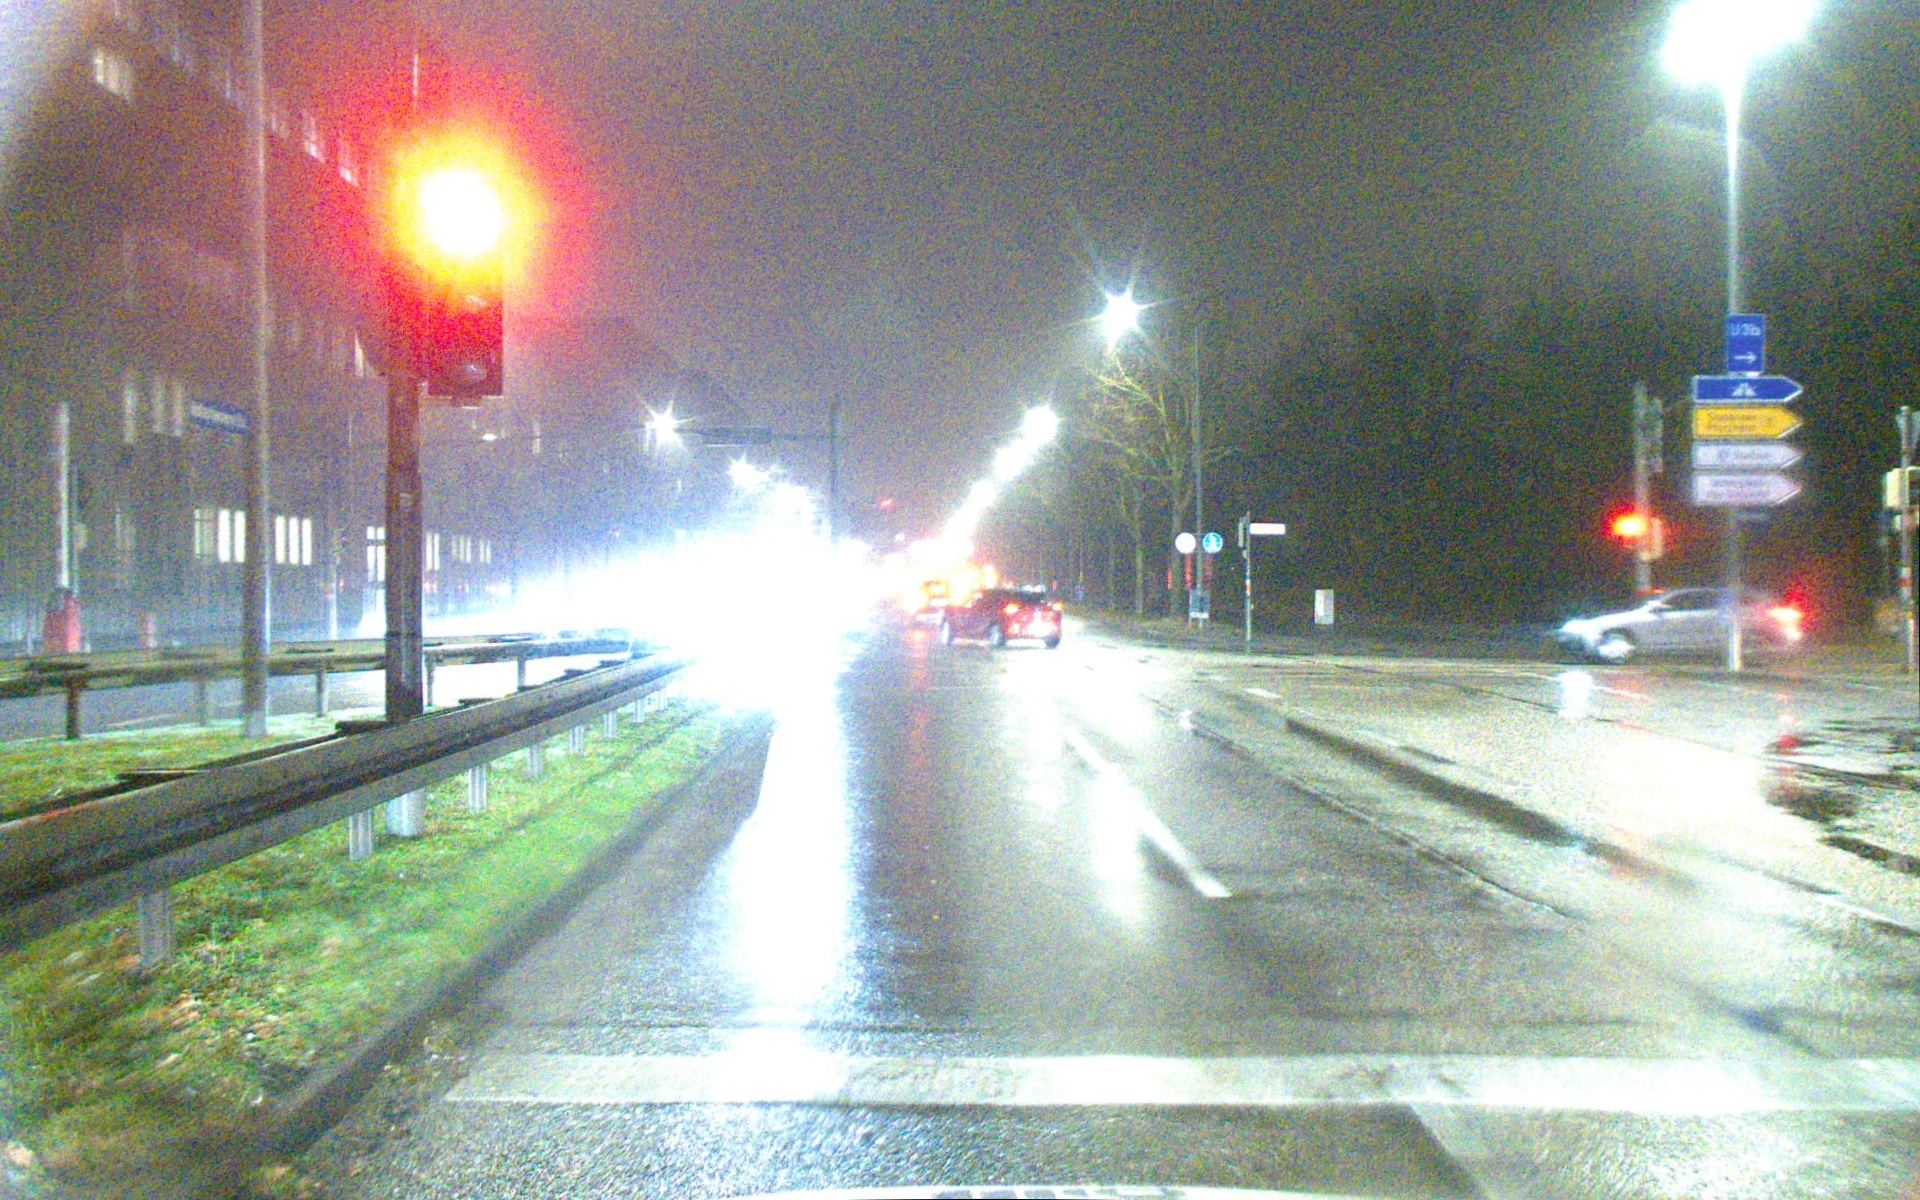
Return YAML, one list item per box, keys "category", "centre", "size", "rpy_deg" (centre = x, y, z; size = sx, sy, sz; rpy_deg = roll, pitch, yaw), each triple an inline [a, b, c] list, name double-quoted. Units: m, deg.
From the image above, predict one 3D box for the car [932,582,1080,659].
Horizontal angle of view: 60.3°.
- category: "car"
  centre: [1.065, 0.493, 40.597]
  size: [1.953, 1.785, 4.319]
  rpy_deg: [1, -1, -25]

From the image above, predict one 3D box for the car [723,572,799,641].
- category: "car"
  centre: [-6.179, 0.195, 51.712]
  size: [1.953, 2.049, 3.999]
  rpy_deg: [-1, 0, -1]

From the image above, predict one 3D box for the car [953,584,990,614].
- category: "car"
  centre: [0.681, -0.058, 102.191]
  size: [1.865, 1.811, 3.995]
  rpy_deg: [0, 0, -5]

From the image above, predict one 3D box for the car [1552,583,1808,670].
- category: "car"
  centre: [13.931, 0.501, 32.222]
  size: [4.246, 1.618, 1.855]
  rpy_deg: [0, -1, 8]

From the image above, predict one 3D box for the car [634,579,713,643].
- category: "car"
  centre: [-8.769, 0.330, 50.899]
  size: [1.746, 1.847, 3.999]
  rpy_deg: [-1, 0, -1]

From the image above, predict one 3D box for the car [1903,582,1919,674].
- category: "car"
  centre: [19.265, 0.506, 28.654]
  size: [4.748, 1.618, 1.854]
  rpy_deg: [0, -1, 6]

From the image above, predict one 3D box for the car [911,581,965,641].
- category: "car"
  centre: [-0.750, 0.367, 53.808]
  size: [1.648, 1.870, 3.427]
  rpy_deg: [0, 0, -3]

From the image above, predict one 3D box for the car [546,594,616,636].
- category: "car"
  centre: [-14.931, 0.591, 65.393]
  size: [1.809, 1.618, 4.351]
  rpy_deg: [0, 0, -1]

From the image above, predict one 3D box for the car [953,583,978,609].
- category: "car"
  centre: [0.449, -0.337, 146.857]
  size: [2.163, 2.253, 3.642]
  rpy_deg: [0, -1, -1]
